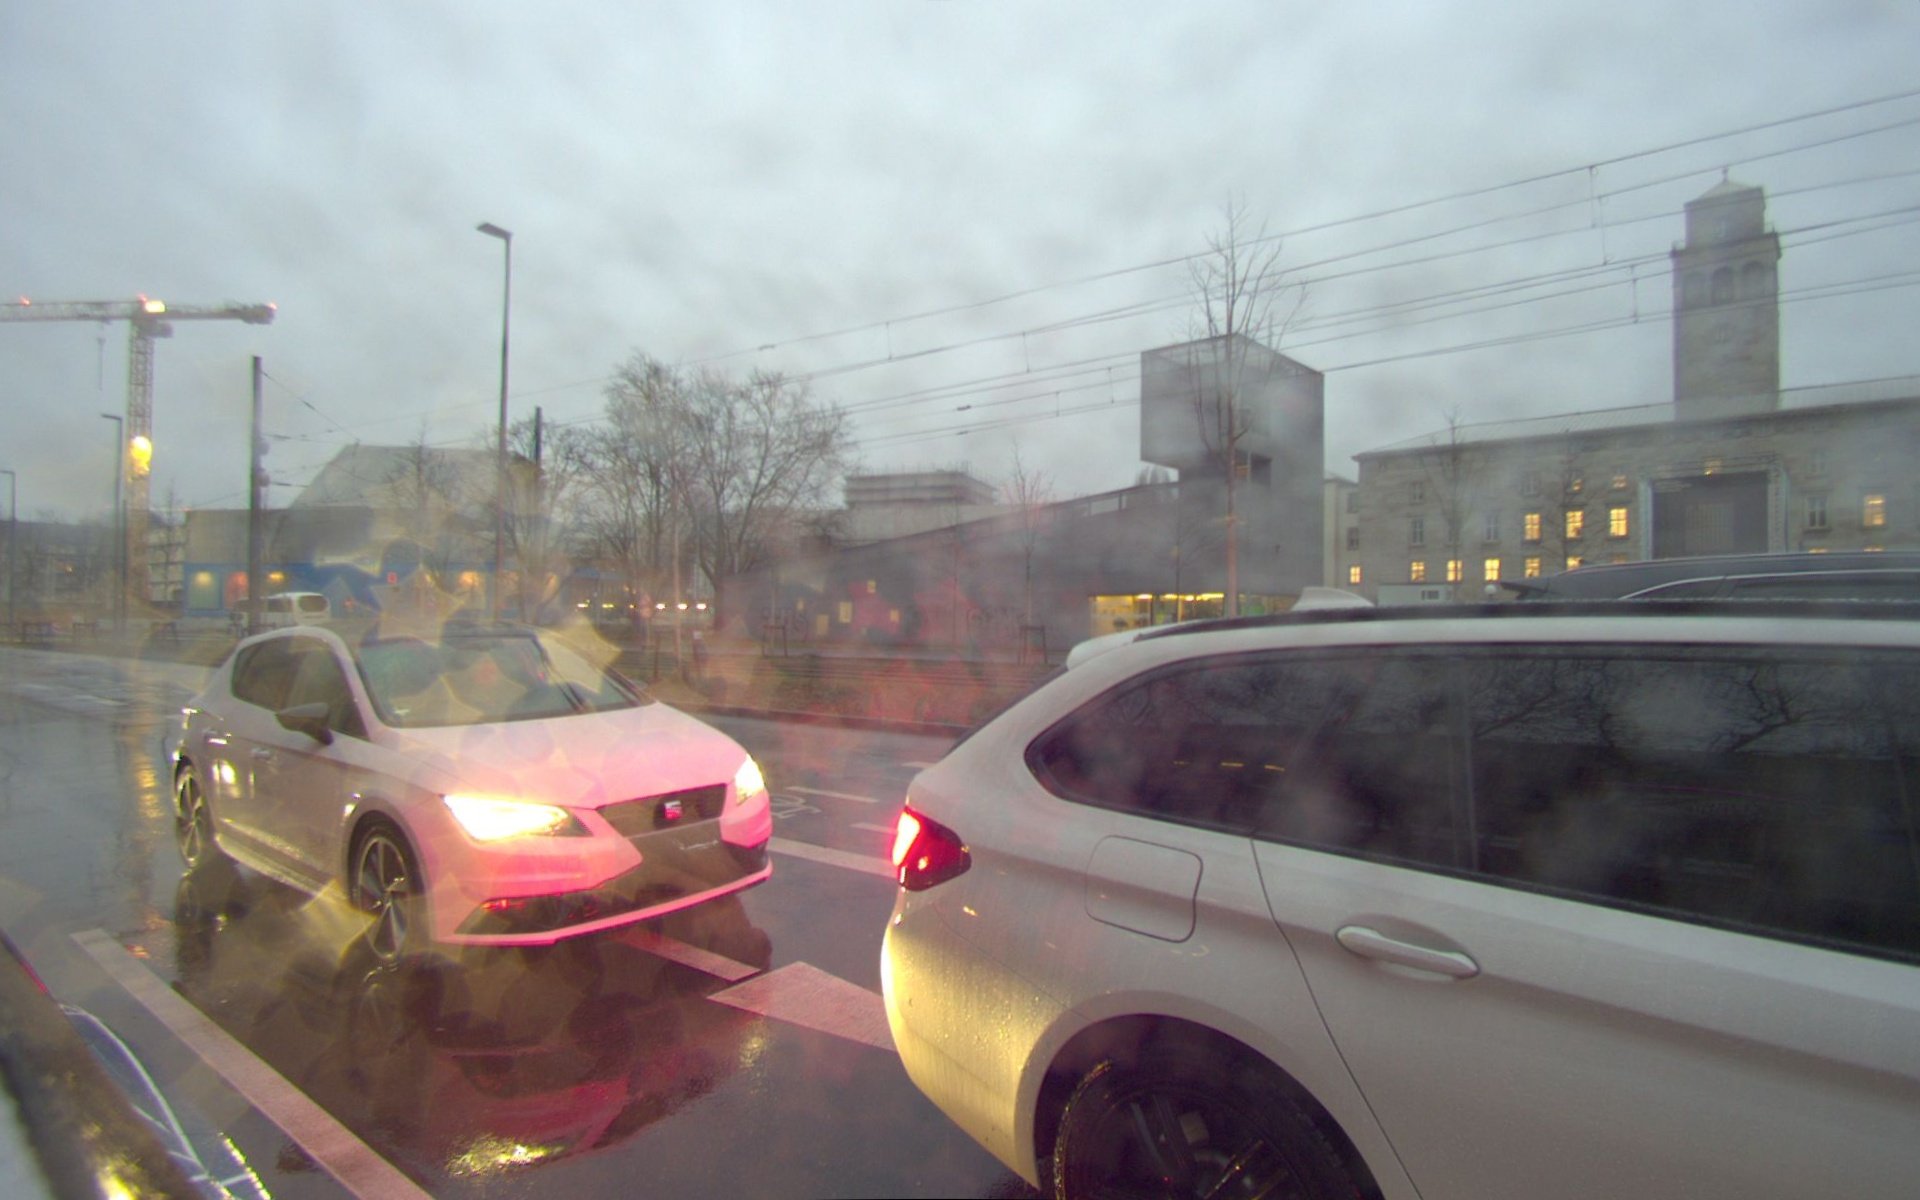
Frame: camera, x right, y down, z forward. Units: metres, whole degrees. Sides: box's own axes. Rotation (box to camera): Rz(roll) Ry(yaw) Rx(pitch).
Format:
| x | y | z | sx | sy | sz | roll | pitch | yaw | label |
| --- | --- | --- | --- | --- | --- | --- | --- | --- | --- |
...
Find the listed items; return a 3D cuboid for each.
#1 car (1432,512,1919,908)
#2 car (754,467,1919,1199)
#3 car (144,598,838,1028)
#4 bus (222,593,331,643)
| x | y | z | sx | sy | sz | roll | pitch | yaw | label |
| --- | --- | --- | --- | --- | --- | --- | --- | --- | --- |
| 5.004 | 0.501 | 4.992 | 4.605 | 1.756 | 1.686 | -1 | -2 | 38 | car |
| 1.956 | 0.623 | 1.740 | 4.919 | 1.532 | 1.890 | -1 | -2 | 40 | car |
| -2.742 | 0.767 | 5.487 | 4.124 | 1.486 | 1.757 | -1 | -1 | 38 | car |
| -53.327 | 1.418 | 78.809 | 12.277 | 3.605 | 2.783 | -1 | -2 | 35 | bus |
